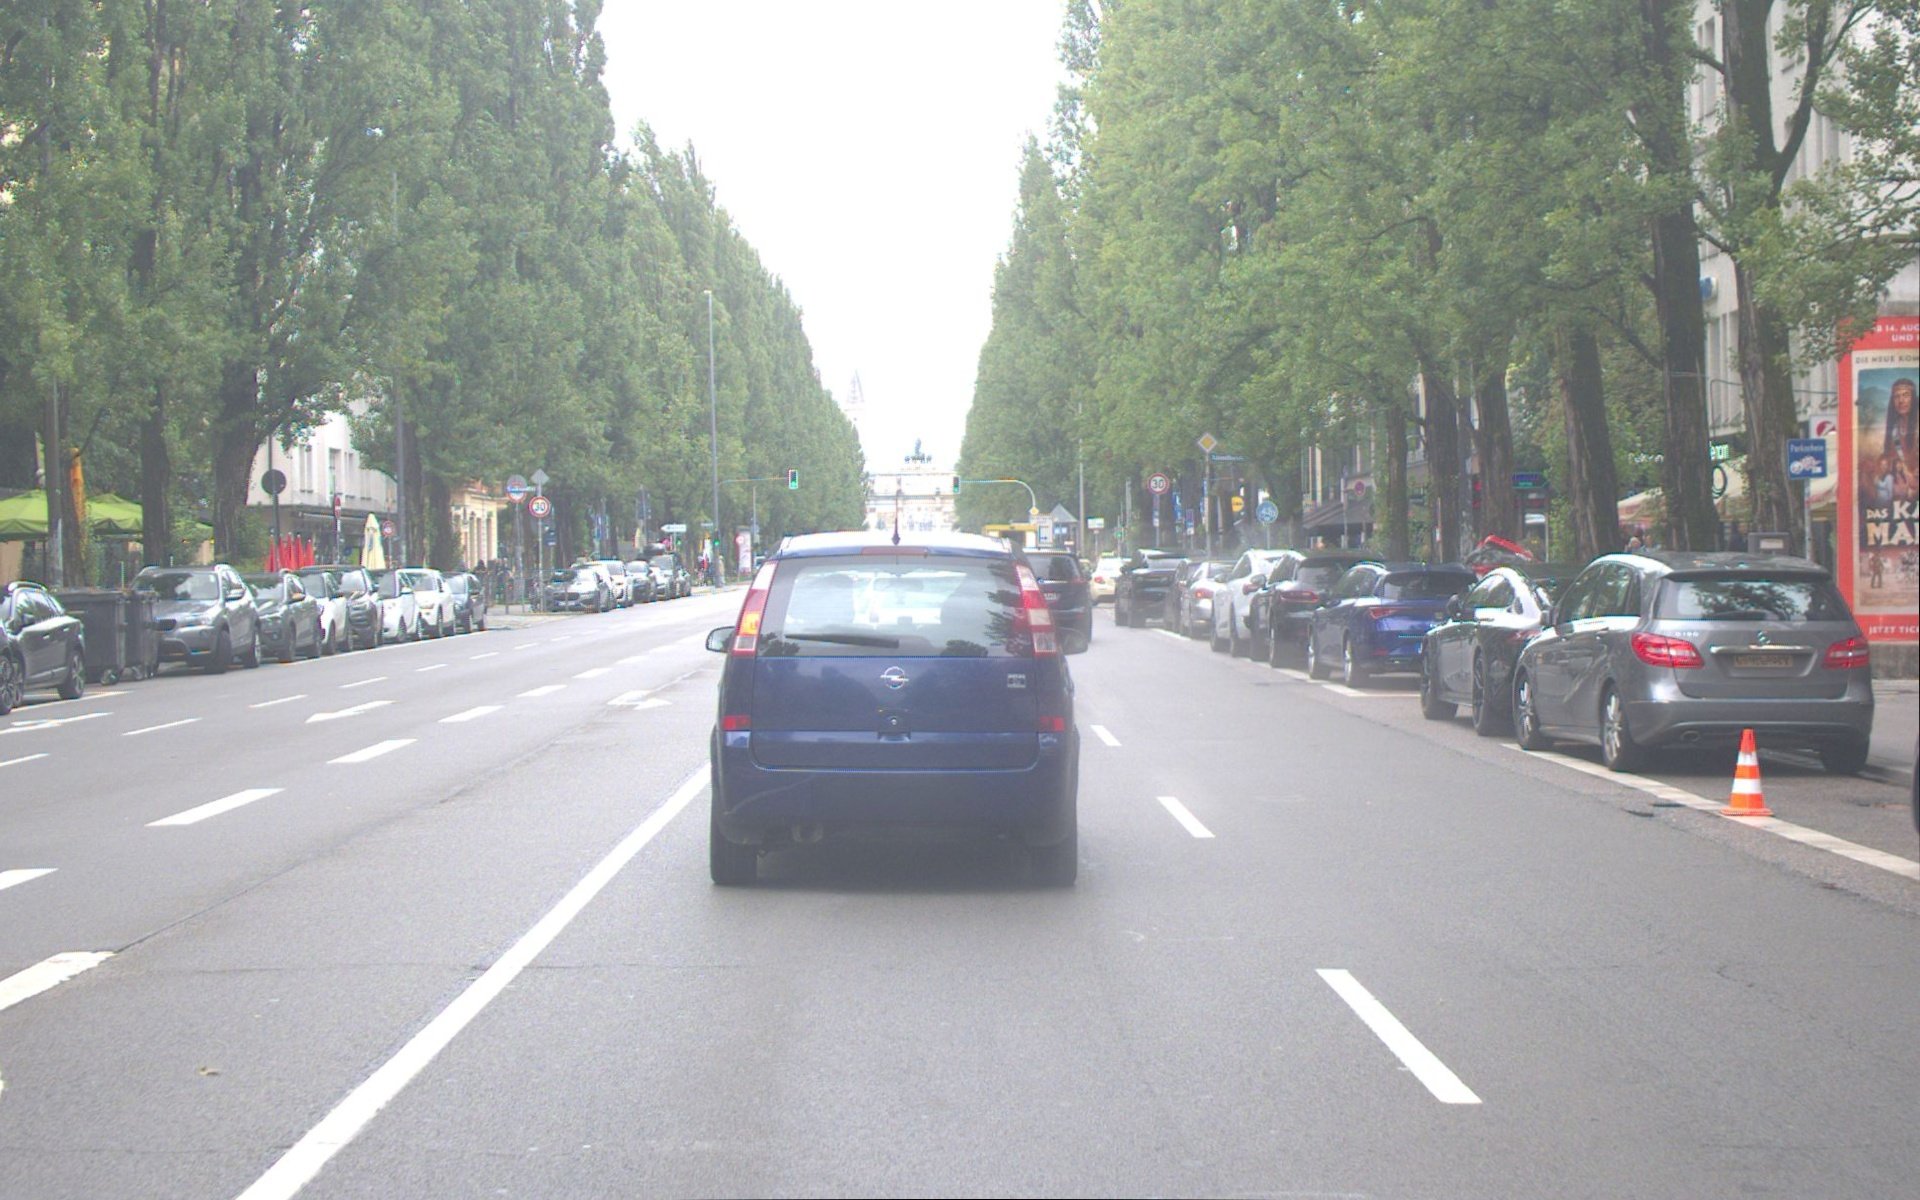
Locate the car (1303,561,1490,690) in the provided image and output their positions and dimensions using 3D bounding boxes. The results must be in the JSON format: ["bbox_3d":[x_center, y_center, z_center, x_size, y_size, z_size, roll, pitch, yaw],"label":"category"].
[{"bbox_3d":[5.082,0.258,40.484,1.750,1.400,4.464,-1,1,2],"label":"car"}]

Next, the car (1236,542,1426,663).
[{"bbox_3d":[5.031,0.007,47.165,1.993,1.560,4.484,-1,1,-1],"label":"car"}]

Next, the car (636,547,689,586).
[{"bbox_3d":[-12.740,-1.445,147.528,1.993,1.656,4.000,-1,1,-1],"label":"car"}]

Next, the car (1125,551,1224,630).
[{"bbox_3d":[4.507,-0.211,72.659,1.797,1.588,4.104,1,1,0],"label":"car"}]

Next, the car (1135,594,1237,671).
[{"bbox_3d":[4.460,0.622,68.170,1.681,1.410,3.583,1,1,-1],"label":"car"}]

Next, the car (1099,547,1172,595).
[{"bbox_3d":[5.076,-0.852,99.789,1.897,1.358,3.900,-1,1,0],"label":"car"}]

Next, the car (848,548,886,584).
[{"bbox_3d":[-4.706,-1.720,174.494,1.835,1.755,3.779,-1,1,-1],"label":"car"}]

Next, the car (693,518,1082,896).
[{"bbox_3d":[-0.369,0.436,16.900,1.681,1.635,4.000,0,1,-2],"label":"car"}]

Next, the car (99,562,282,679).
[{"bbox_3d":[-11.957,0.286,53.685,1.864,1.649,4.616,-3,1,-2],"label":"car"}]

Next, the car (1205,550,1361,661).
[{"bbox_3d":[4.886,0.053,52.592,1.827,1.615,4.748,0,1,-1],"label":"car"}]

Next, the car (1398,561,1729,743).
[{"bbox_3d":[5.147,0.392,29.978,1.878,1.427,4.805,-1,1,-2],"label":"car"}]

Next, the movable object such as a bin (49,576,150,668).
[{"bbox_3d":[-12.493,0.314,49.957,1.259,1.312,0.825,-1,1,-2],"label":"movable object such as a bin"}]

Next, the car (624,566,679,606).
[{"bbox_3d":[-12.641,-0.585,141.044,1.961,1.543,3.779,-1,1,-1],"label":"car"}]

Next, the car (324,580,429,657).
[{"bbox_3d":[-12.085,0.369,71.358,1.573,1.528,2.922,-1,1,2],"label":"car"}]

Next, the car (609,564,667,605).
[{"bbox_3d":[-12.281,-0.598,131.256,1.961,1.525,4.000,-1,1,-2],"label":"car"}]

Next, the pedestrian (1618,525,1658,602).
[{"bbox_3d":[14.292,-0.772,72.485,0.653,1.621,0.704,-1,1,-3],"label":"pedestrian"}]

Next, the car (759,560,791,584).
[{"bbox_3d":[-12.243,-1.853,227.851,1.961,1.543,3.779,-1,1,-1],"label":"car"}]

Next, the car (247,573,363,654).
[{"bbox_3d":[-12.050,0.232,63.368,1.631,1.423,2.983,-1,1,-2],"label":"car"}]

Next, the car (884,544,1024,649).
[{"bbox_3d":[-0.135,-0.076,51.709,1.993,1.492,4.000,-1,1,-1],"label":"car"}]

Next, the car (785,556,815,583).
[{"bbox_3d":[-10.313,-1.983,221.450,1.835,1.733,3.779,-1,1,-1],"label":"car"}]

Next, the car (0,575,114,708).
[{"bbox_3d":[-11.702,0.498,41.795,1.663,1.499,4.313,-3,1,0],"label":"car"}]

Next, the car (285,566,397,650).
[{"bbox_3d":[-12.091,0.129,67.392,1.840,1.560,4.180,-1,1,-6],"label":"car"}]

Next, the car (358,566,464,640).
[{"bbox_3d":[-12.031,0.052,75.539,1.835,1.541,4.087,-1,1,-3],"label":"car"}]

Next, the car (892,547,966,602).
[{"bbox_3d":[-0.897,-0.735,97.210,1.993,1.492,4.000,-1,1,-1],"label":"car"}]

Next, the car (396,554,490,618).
[{"bbox_3d":[-12.143,-0.350,80.856,1.586,1.442,3.390,-1,1,2],"label":"car"}]

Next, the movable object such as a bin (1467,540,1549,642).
[{"bbox_3d":[9.370,-0.161,58.851,1.032,1.697,1.587,-1,1,-4],"label":"movable object such as a bin"}]

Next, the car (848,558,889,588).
[{"bbox_3d":[-4.445,-1.328,167.428,1.961,1.395,3.779,-1,1,-1],"label":"car"}]

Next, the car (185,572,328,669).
[{"bbox_3d":[-11.922,0.319,58.482,1.697,1.545,4.082,-1,1,-2],"label":"car"}]

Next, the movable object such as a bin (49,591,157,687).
[{"bbox_3d":[-11.912,0.532,47.810,1.277,1.305,0.902,0,1,0],"label":"movable object such as a bin"}]

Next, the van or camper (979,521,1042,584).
[{"bbox_3d":[2.106,-1.996,145.141,2.476,2.572,5.844,-1,1,0],"label":"van or camper"}]

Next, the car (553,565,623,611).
[{"bbox_3d":[-11.685,-0.402,108.082,1.830,1.415,3.811,0,1,-1],"label":"car"}]

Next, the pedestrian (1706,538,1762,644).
[{"bbox_3d":[13.308,-0.153,59.110,0.729,1.796,0.931,-1,1,0],"label":"pedestrian"}]

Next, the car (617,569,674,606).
[{"bbox_3d":[-12.499,-0.501,136.922,1.961,1.395,3.779,-1,1,-1],"label":"car"}]

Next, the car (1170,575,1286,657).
[{"bbox_3d":[4.854,0.260,62.775,1.670,1.401,4.128,1,1,-1],"label":"car"}]

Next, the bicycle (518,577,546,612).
[{"bbox_3d":[-12.733,-0.178,102.377,0.665,1.002,2.462,-1,1,-4],"label":"bicycle"}]

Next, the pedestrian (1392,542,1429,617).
[{"bbox_3d":[9.780,-0.453,74.678,0.653,1.621,0.704,-1,1,-3],"label":"pedestrian"}]

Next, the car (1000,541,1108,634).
[{"bbox_3d":[1.629,-0.220,60.644,1.706,1.568,4.000,1,0,-1],"label":"car"}]

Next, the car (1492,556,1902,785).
[{"bbox_3d":[5.269,0.447,25.138,1.816,1.501,4.233,-1,1,-4],"label":"car"}]

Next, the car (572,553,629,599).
[{"bbox_3d":[-12.441,-0.850,119.033,1.654,1.556,3.458,-1,1,-1],"label":"car"}]

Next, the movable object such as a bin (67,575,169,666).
[{"bbox_3d":[-12.458,0.298,50.873,1.313,1.312,0.819,-1,1,-2],"label":"movable object such as a bin"}]

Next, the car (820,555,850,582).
[{"bbox_3d":[-7.961,-1.996,219.774,1.835,1.671,3.779,-1,1,-1],"label":"car"}]

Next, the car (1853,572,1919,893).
[{"bbox_3d":[5.238,0.631,14.276,1.719,1.437,4.354,1,1,-3],"label":"car"}]
